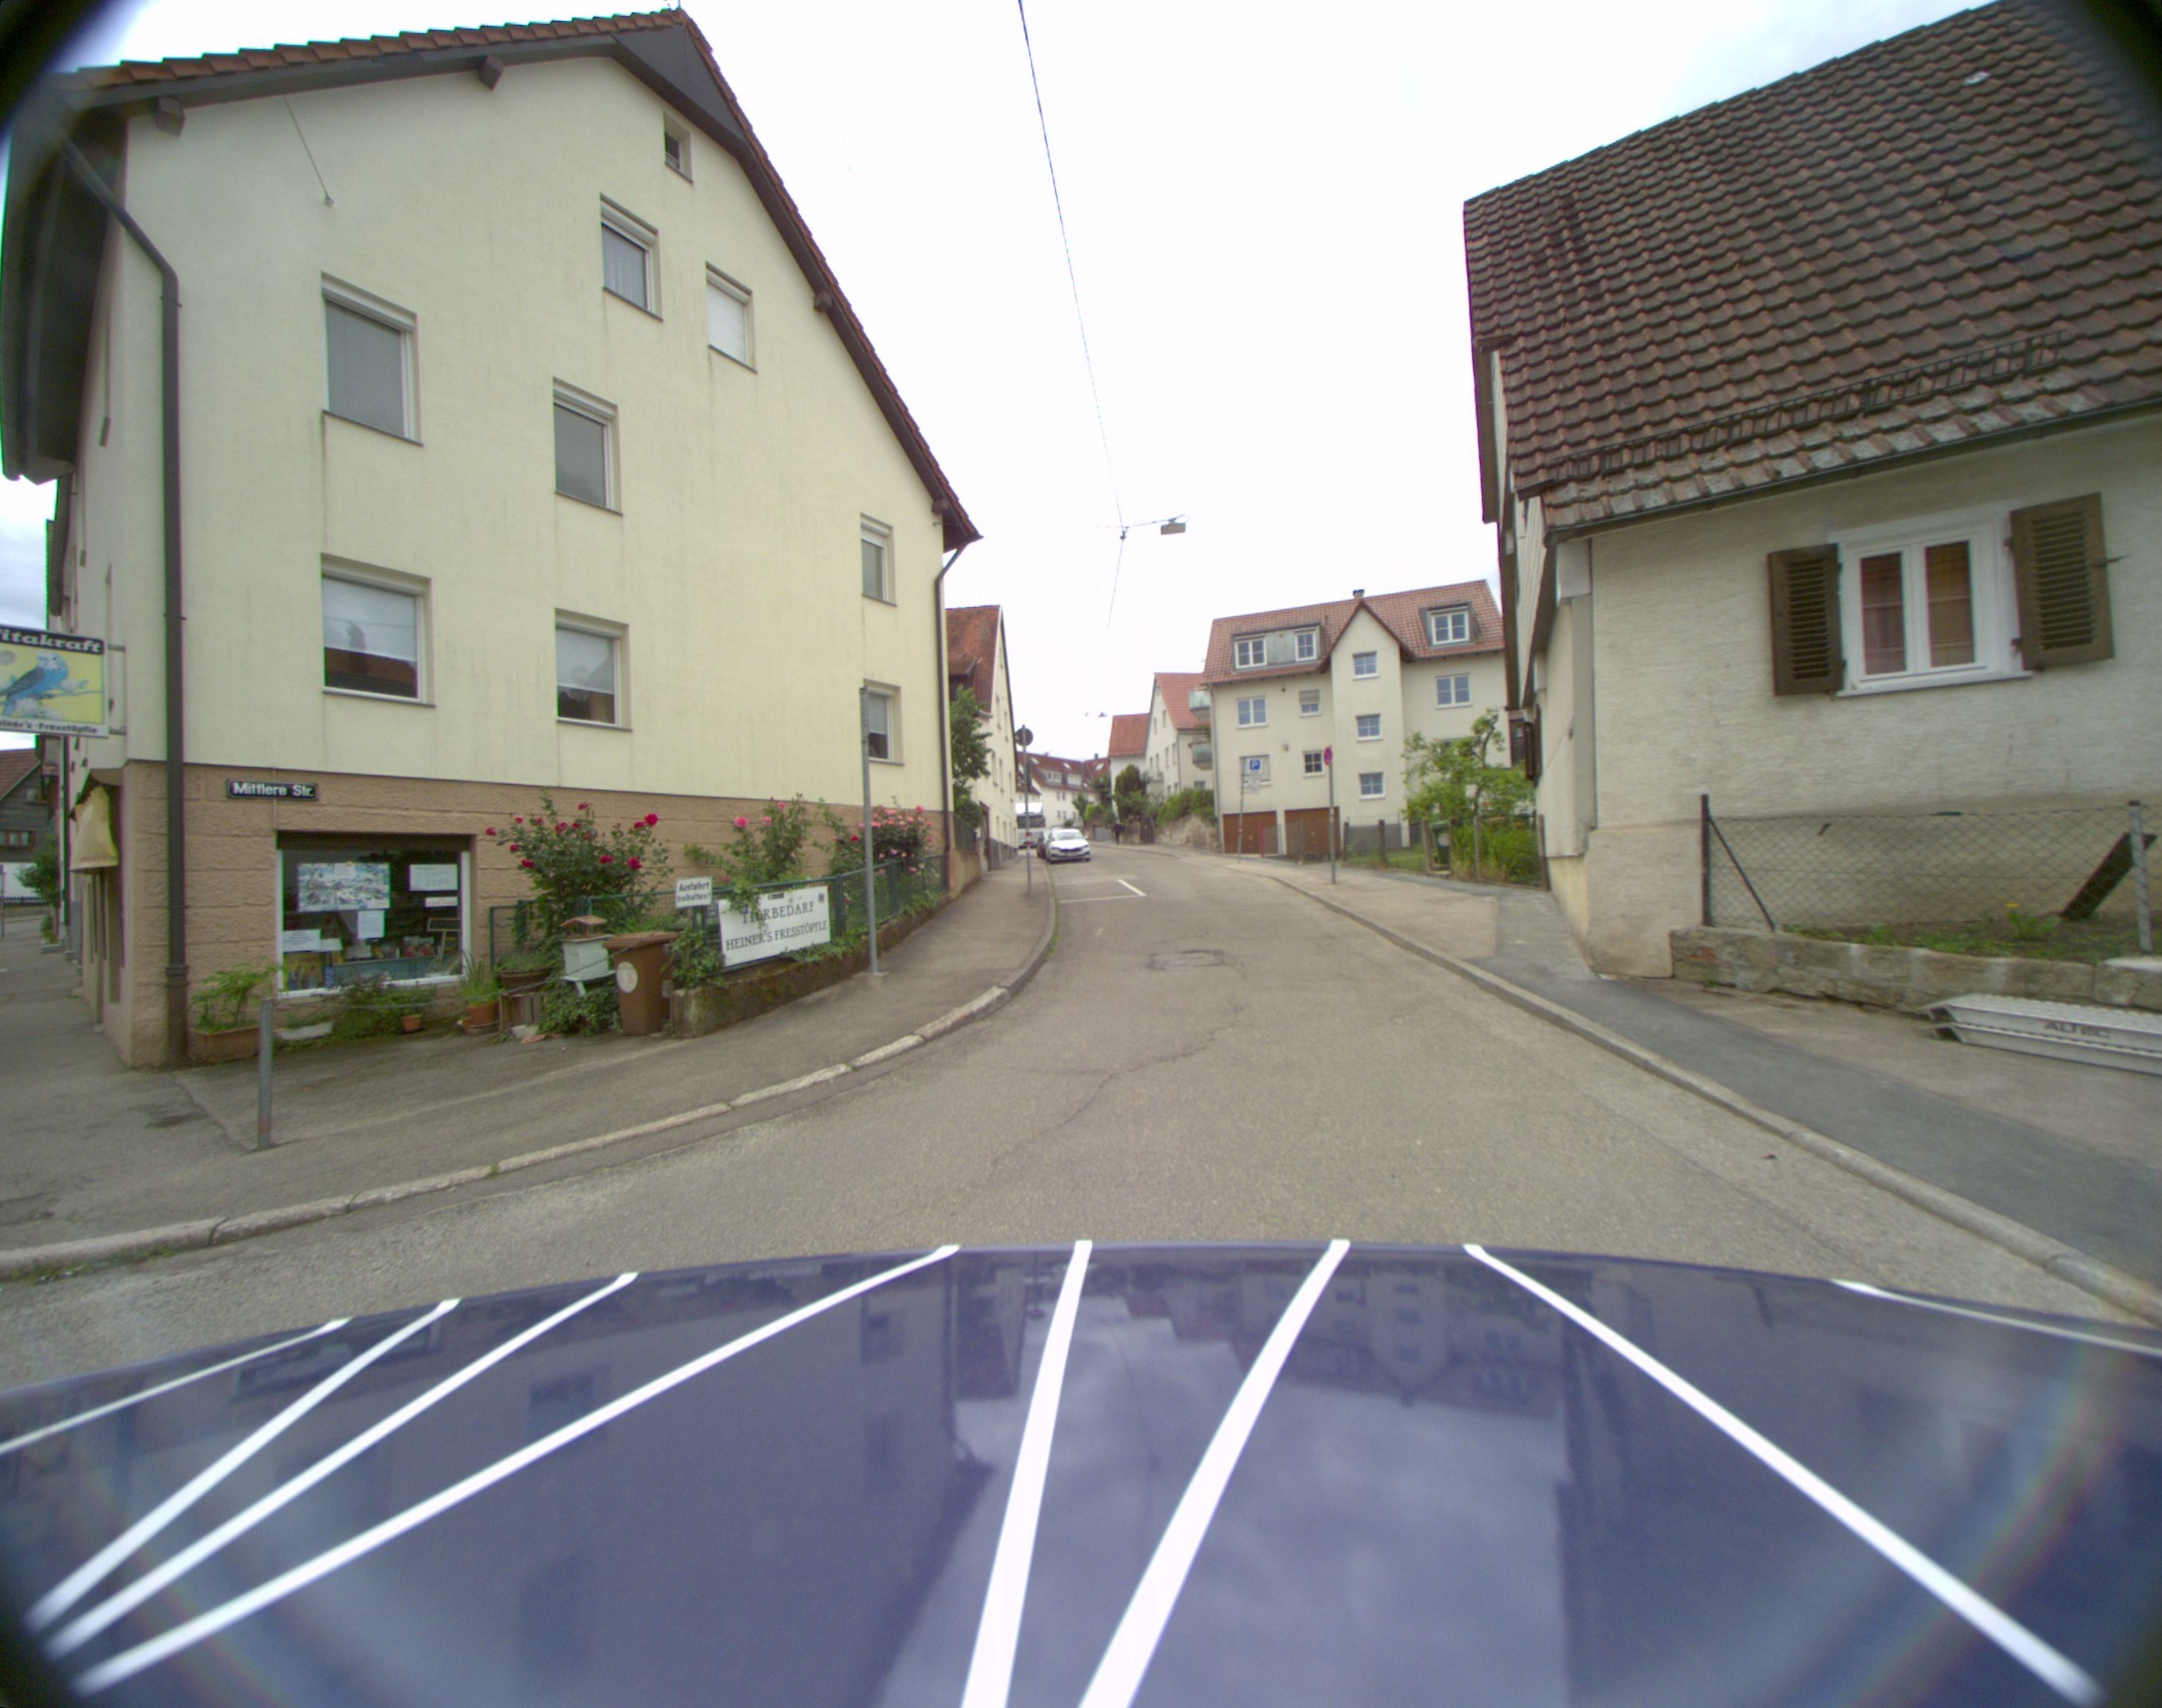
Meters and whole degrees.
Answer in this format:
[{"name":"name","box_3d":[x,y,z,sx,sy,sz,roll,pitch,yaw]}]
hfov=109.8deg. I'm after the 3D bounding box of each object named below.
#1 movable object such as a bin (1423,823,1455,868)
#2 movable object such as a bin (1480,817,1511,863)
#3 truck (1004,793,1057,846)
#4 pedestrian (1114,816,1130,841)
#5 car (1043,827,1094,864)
[{"name":"movable object such as a bin","box_3d":[7.629,-0.184,16.197,0.527,0.879,0.490,-6,3,26]},{"name":"movable object such as a bin","box_3d":[8.651,-0.294,15.872,0.495,0.873,0.453,-6,3,26]},{"name":"truck","box_3d":[-3.976,-2.549,57.765,2.685,3.578,8.094,-4,3,-11]},{"name":"pedestrian","box_3d":[2.849,-1.768,52.941,0.843,1.669,0.975,-5,3,-10]},{"name":"car","box_3d":[-0.629,-0.446,34.483,1.800,1.438,4.293,-4,3,-6]}]
